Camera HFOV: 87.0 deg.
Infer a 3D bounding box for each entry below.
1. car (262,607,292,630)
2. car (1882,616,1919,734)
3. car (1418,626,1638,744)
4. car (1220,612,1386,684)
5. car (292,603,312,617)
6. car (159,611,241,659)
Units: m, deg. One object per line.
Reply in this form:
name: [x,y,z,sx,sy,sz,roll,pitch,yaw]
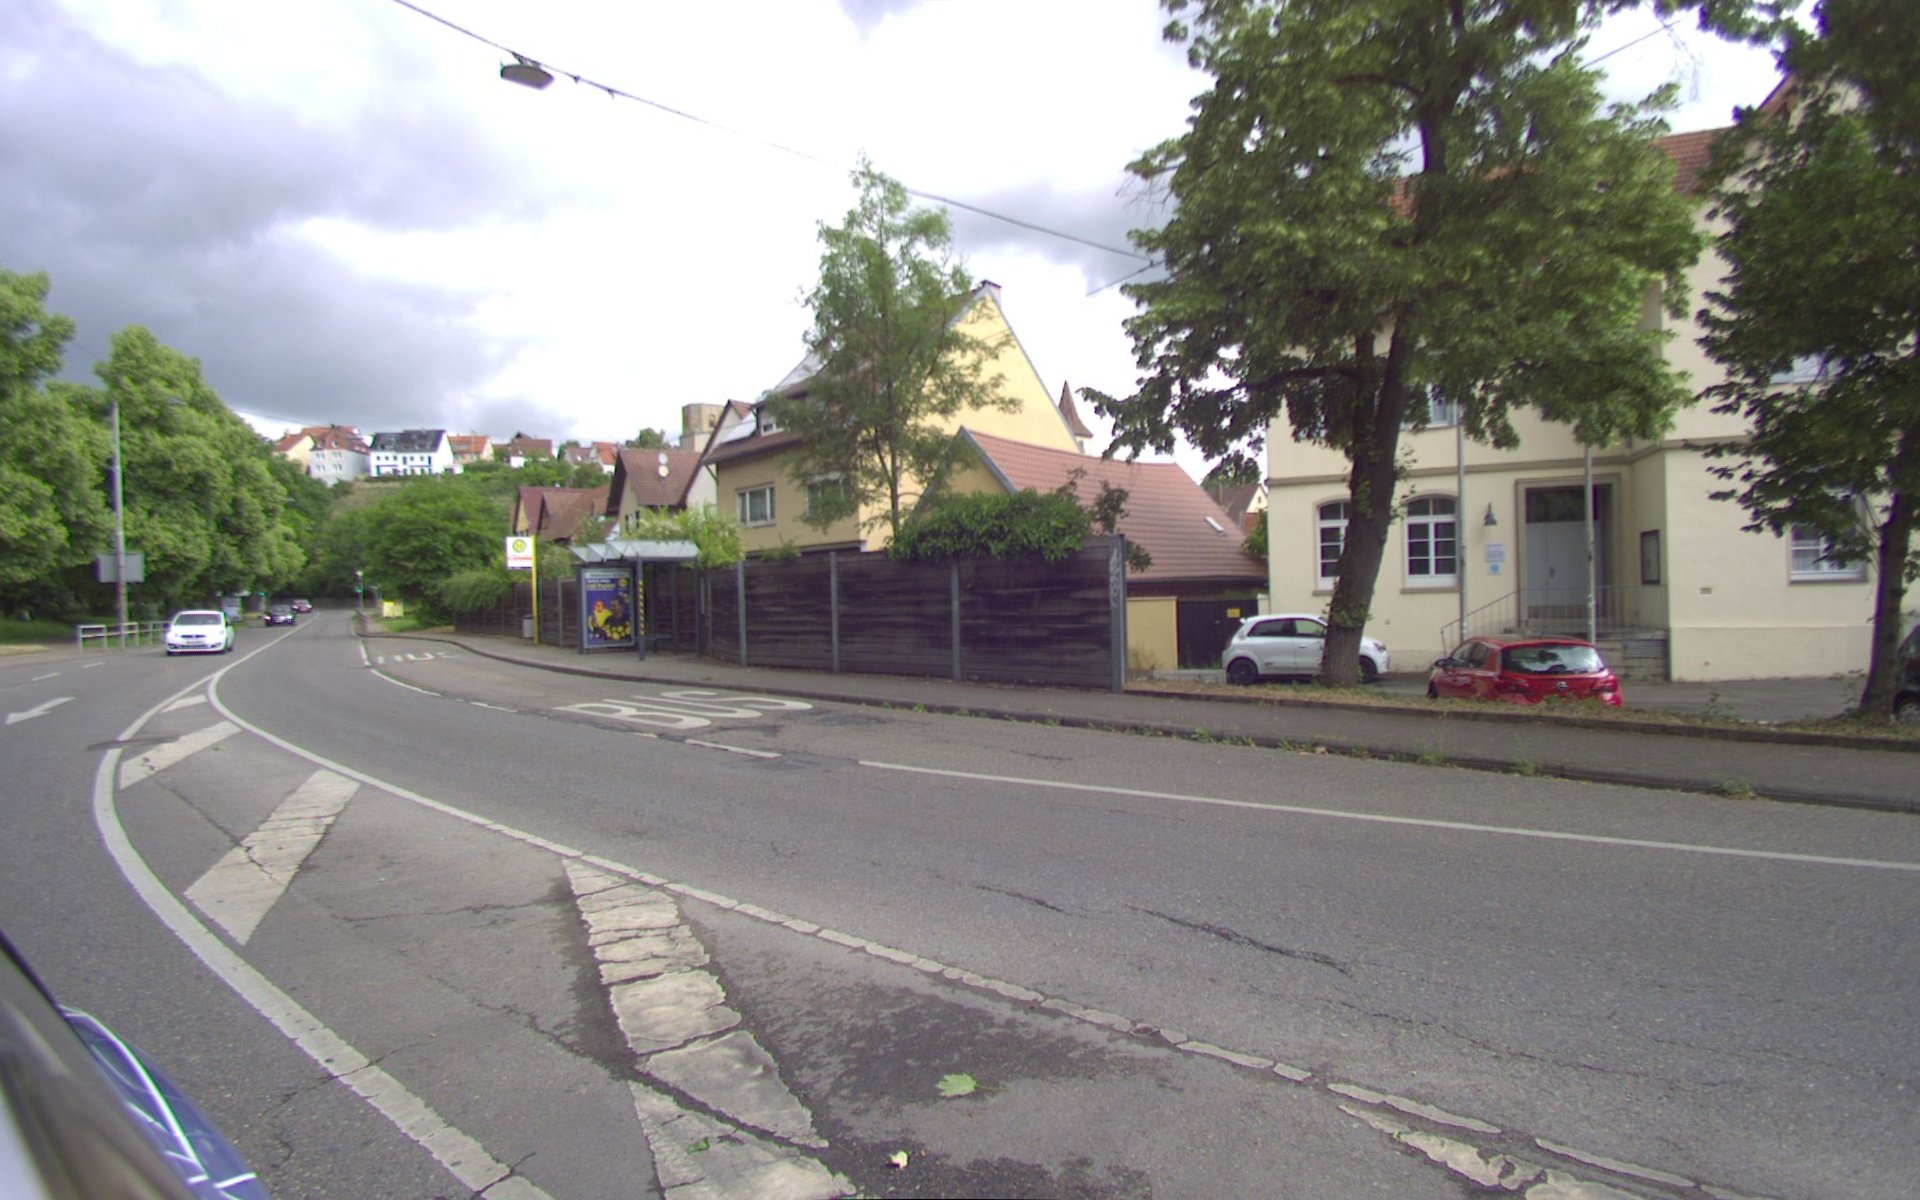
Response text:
car: [-50.255,1.333,74.520,1.735,1.596,3.693,-1,0,-33]
car: [12.632,0.932,11.311,1.626,1.450,3.567,-1,0,7]
car: [8.142,1.144,14.885,1.644,1.393,3.708,-1,0,10]
car: [7.719,1.053,22.893,3.411,1.490,1.600,-1,0,21]
car: [-80.462,1.251,123.720,1.737,1.596,3.690,-1,0,-39]
car: [-26.077,1.152,34.831,1.735,1.536,3.695,-1,0,-29]
